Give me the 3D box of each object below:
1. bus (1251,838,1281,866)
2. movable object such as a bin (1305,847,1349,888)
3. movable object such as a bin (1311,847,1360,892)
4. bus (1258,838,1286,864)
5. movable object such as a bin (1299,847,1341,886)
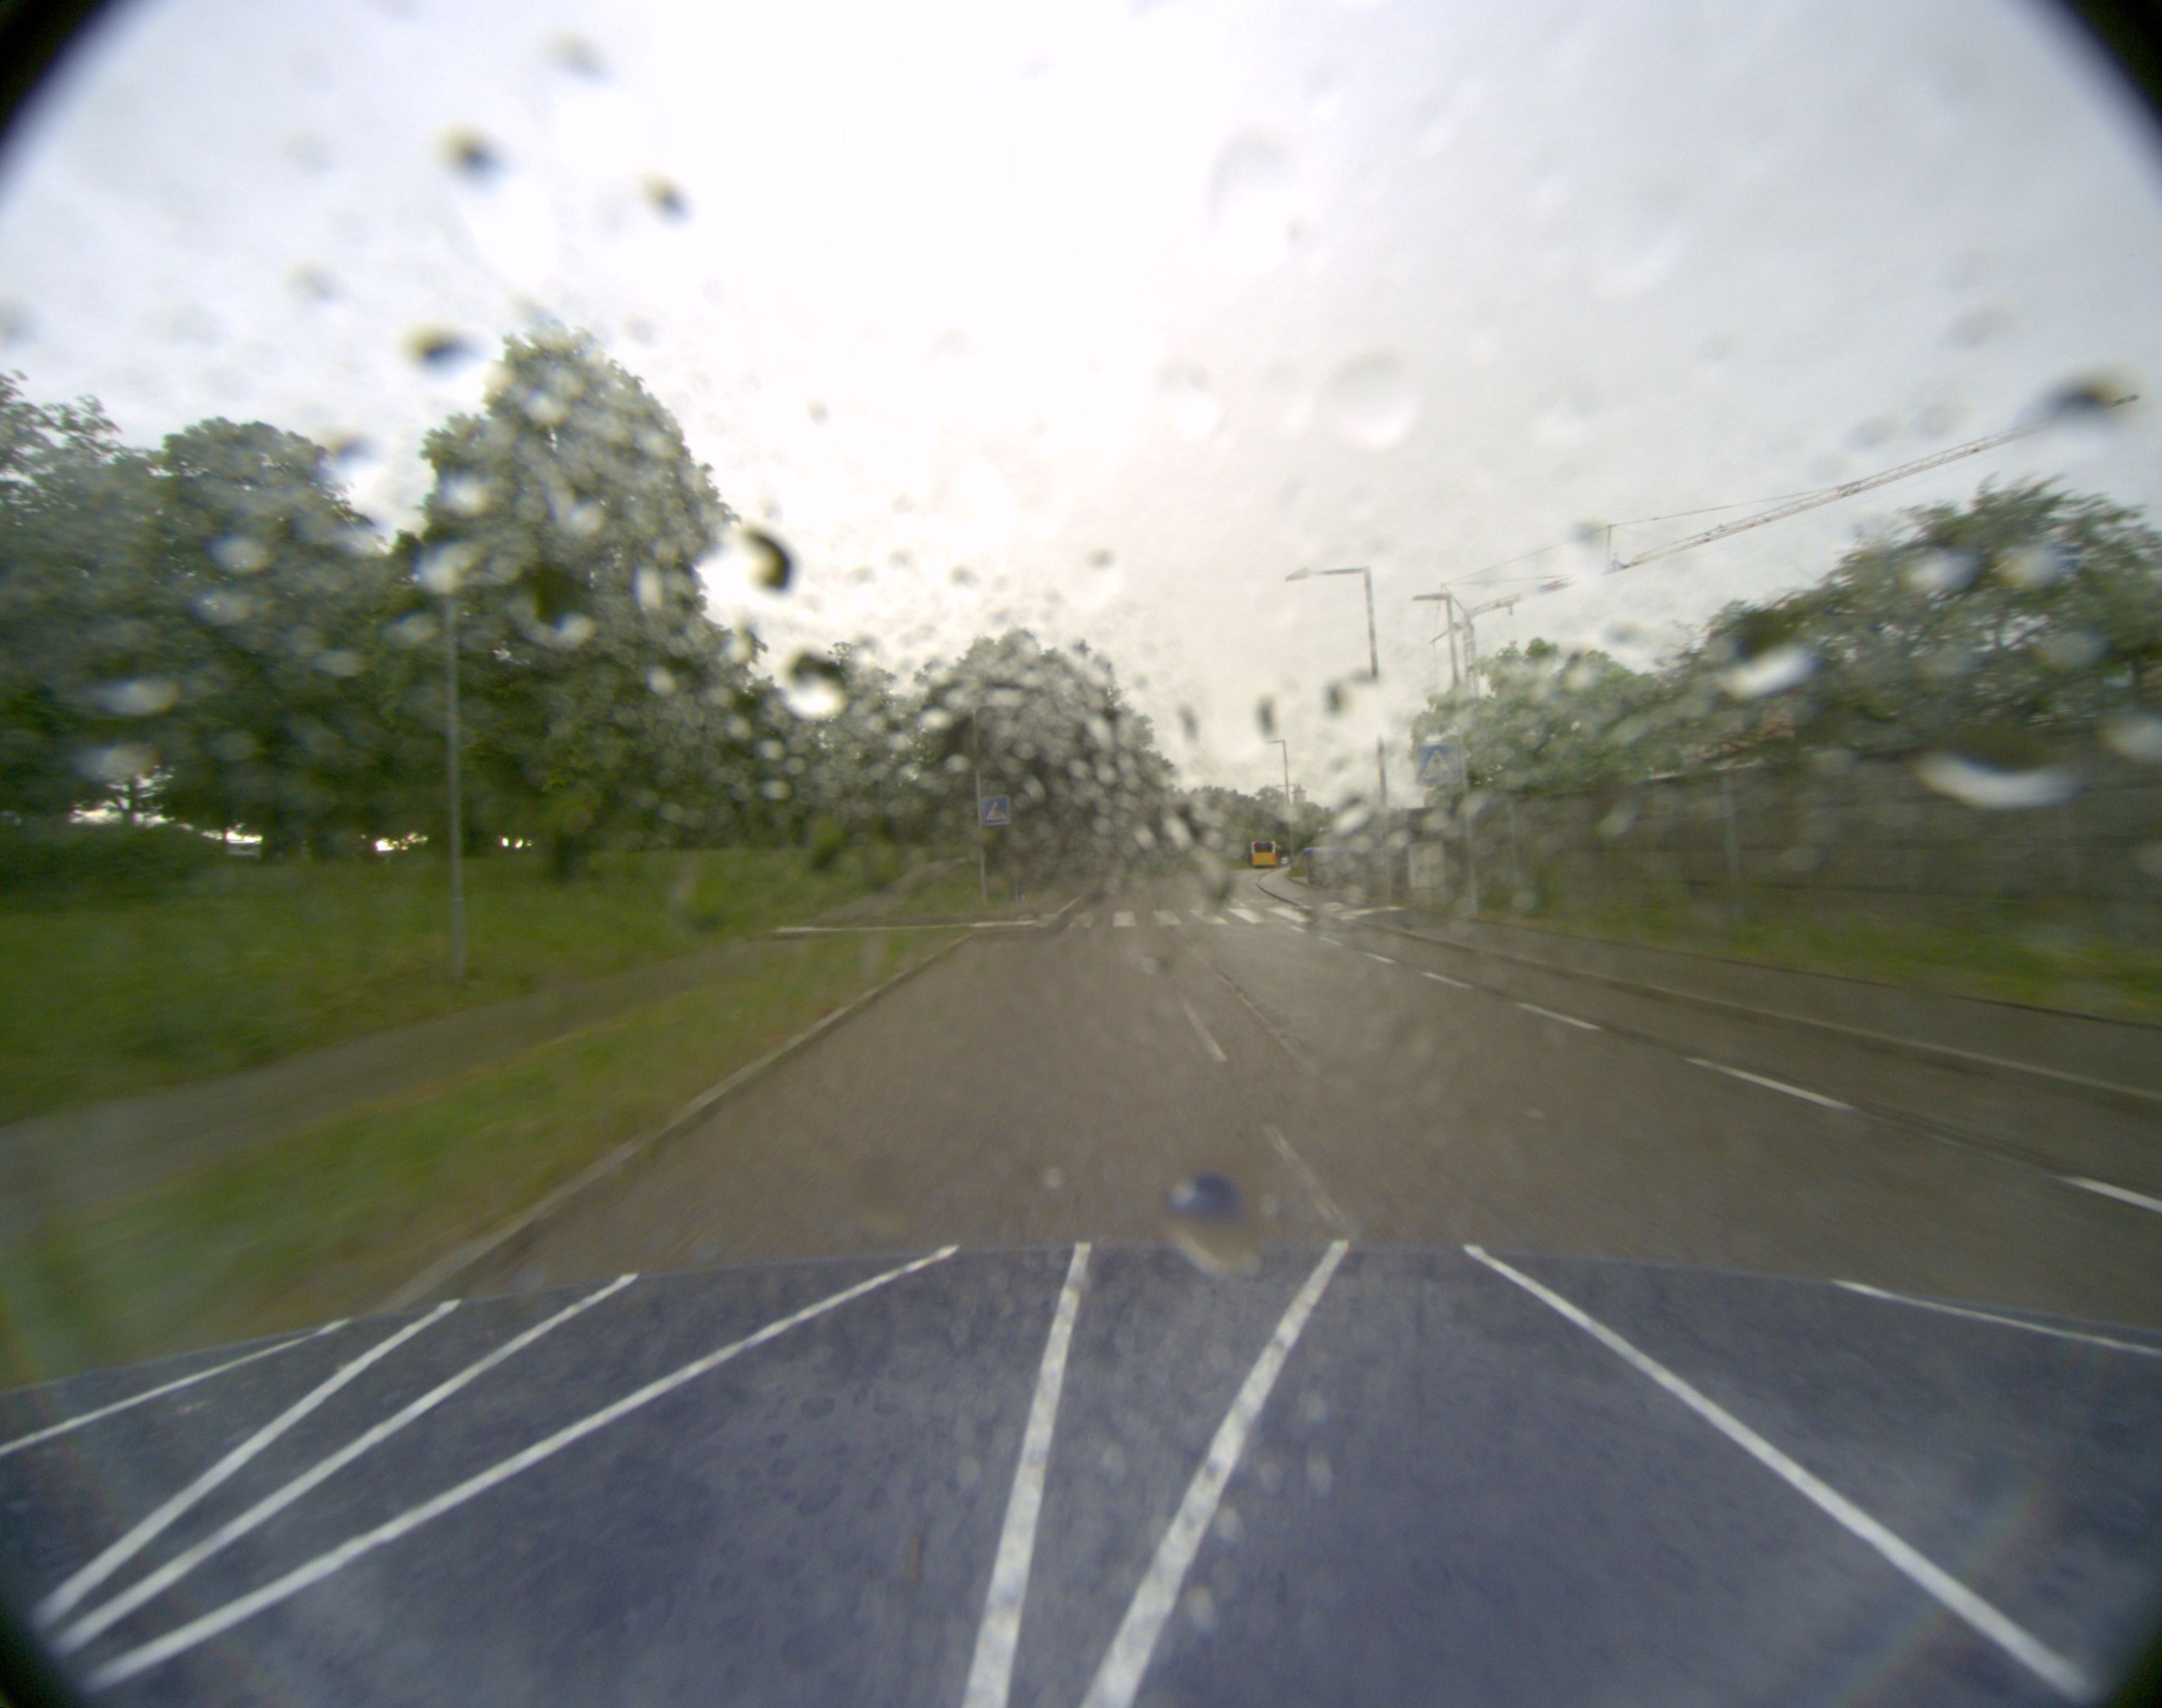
[{"bbox_3d":[21.701,-0.265,88.929,2.643,3.014,7.675,-3,0,18],"label":"bus"},{"bbox_3d":[8.610,0.472,26.648,1.133,1.294,1.399,-6,-1,8],"label":"movable object such as a bin"},{"bbox_3d":[8.299,0.503,24.863,1.133,1.314,1.363,-6,-1,7],"label":"movable object such as a bin"},{"bbox_3d":[24.633,-0.470,97.710,2.643,3.050,10.867,-2,1,18],"label":"bus"},{"bbox_3d":[8.860,0.457,28.230,1.133,1.331,1.399,-6,-1,8],"label":"movable object such as a bin"}]
